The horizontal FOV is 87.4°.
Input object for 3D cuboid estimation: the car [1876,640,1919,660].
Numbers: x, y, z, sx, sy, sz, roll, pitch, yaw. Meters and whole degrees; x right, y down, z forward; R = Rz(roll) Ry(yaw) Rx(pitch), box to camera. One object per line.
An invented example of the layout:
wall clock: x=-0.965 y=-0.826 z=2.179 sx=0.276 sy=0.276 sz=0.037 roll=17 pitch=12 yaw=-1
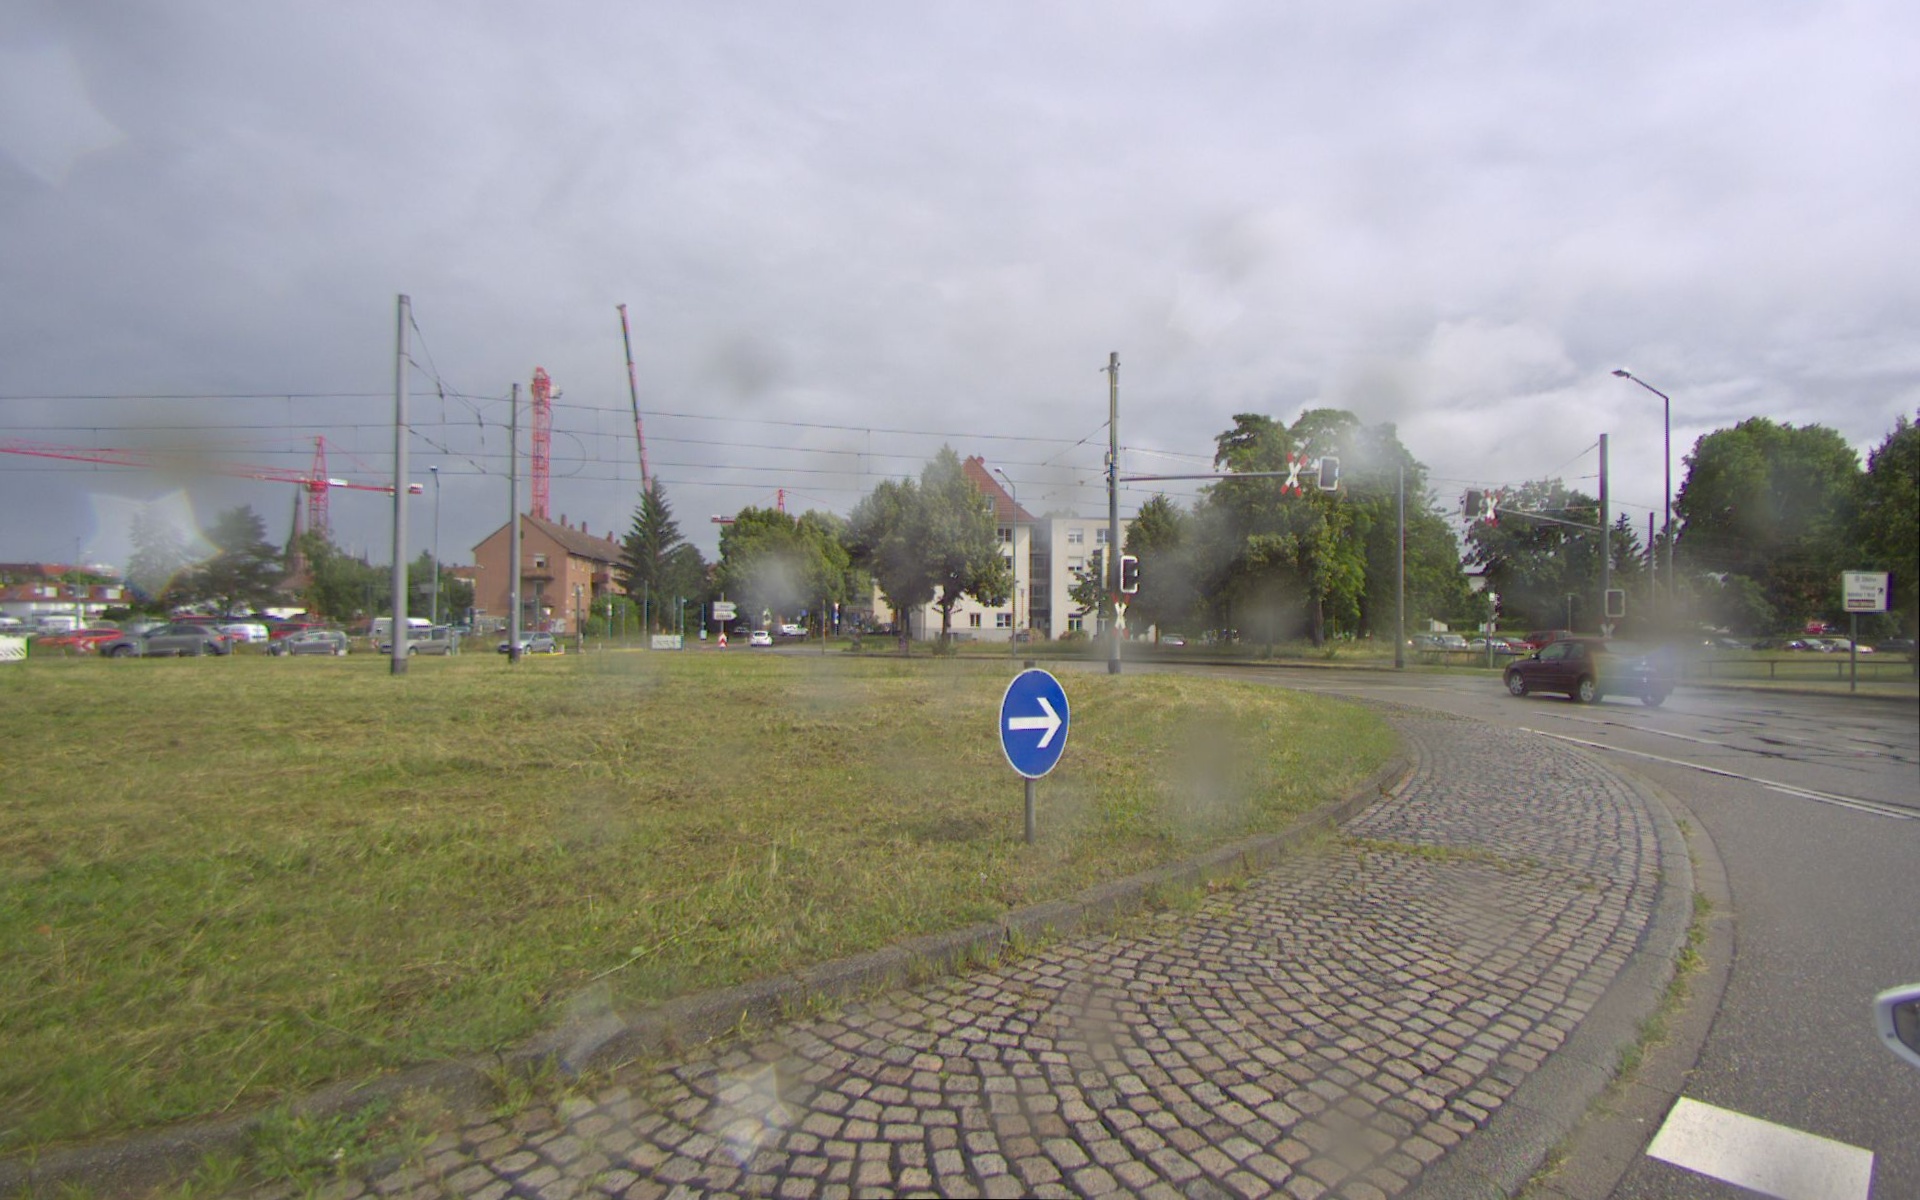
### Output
car: x=75.489 y=3.966 z=79.655 sx=1.815 sy=1.580 sz=3.977 roll=1 pitch=-2 yaw=-5

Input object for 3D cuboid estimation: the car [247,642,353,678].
car: x=-31.800 y=2.861 z=48.466 sx=1.771 sy=1.606 sz=3.980 roll=0 pitch=-1 yaw=41

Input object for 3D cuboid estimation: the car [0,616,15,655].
car: x=-39.437 y=1.366 z=39.161 sx=3.442 sy=1.530 sz=1.495 roll=1 pitch=-1 yaw=-16

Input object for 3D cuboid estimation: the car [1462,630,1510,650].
car: x=39.638 y=3.007 z=75.821 sx=1.613 sy=1.481 sz=3.610 roll=0 pitch=-2 yaw=-3

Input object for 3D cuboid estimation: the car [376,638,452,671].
car: x=-28.046 y=2.794 z=51.720 sx=1.518 sy=1.581 sz=3.503 roll=0 pitch=-1 yaw=11

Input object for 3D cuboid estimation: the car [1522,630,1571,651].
car: x=44.570 y=3.082 z=76.420 sx=1.617 sy=1.530 sz=3.651 roll=0 pitch=-2 yaw=0

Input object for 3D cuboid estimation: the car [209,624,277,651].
car: x=-52.022 y=2.703 z=72.943 sx=3.919 sy=1.722 sz=1.859 roll=2 pitch=-1 yaw=14

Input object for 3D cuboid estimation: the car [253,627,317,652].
car: x=-50.322 y=2.933 z=74.935 sx=3.921 sy=1.722 sz=1.930 roll=2 pitch=-1 yaw=19

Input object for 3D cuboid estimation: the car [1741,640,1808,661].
car: x=63.508 y=3.941 z=78.427 sx=1.815 sy=1.580 sz=3.977 roll=1 pitch=-2 yaw=-5

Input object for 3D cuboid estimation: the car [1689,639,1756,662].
car: x=59.098 y=3.881 z=77.936 sx=1.962 sy=1.737 sz=3.999 roll=0 pitch=-2 yaw=-4

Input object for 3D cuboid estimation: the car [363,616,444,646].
car: x=-44.478 y=2.491 z=80.233 sx=6.142 sy=2.112 sz=2.043 roll=2 pitch=-1 yaw=20

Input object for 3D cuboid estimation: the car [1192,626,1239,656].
car: x=18.987 y=3.042 z=74.791 sx=2.072 sy=2.085 sz=5.161 roll=0 pitch=-1 yaw=-1

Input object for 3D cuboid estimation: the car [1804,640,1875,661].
car: x=68.896 y=3.941 z=78.759 sx=1.815 sy=1.580 sz=3.977 roll=1 pitch=-2 yaw=-5

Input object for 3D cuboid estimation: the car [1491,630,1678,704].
car: x=14.161 y=1.455 z=23.064 sx=1.687 sy=1.482 sz=3.999 roll=0 pitch=-1 yaw=-2

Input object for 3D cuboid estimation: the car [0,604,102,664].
car: x=-41.370 y=1.508 z=45.097 sx=3.947 sy=2.601 sz=1.786 roll=1 pitch=-1 yaw=-26

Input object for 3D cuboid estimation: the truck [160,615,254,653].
truck: x=-50.933 y=2.270 z=67.942 sx=5.984 sy=2.241 sz=2.397 roll=2 pitch=-1 yaw=23

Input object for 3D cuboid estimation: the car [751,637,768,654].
car: x=-18.651 y=4.181 z=93.538 sx=1.523 sy=1.473 sz=3.492 roll=0 pitch=-1 yaw=-12

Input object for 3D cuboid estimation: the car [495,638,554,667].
car: x=-26.491 y=3.171 z=61.222 sx=1.567 sy=1.581 sz=3.552 roll=0 pitch=-1 yaw=9

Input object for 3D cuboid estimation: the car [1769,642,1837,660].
car: x=66.152 y=3.987 z=78.894 sx=1.815 sy=1.325 sz=3.977 roll=1 pitch=-2 yaw=-5

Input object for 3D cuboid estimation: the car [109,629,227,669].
car: x=-33.087 y=2.006 z=42.075 sx=3.634 sy=1.581 sz=1.561 roll=1 pitch=-1 yaw=-30

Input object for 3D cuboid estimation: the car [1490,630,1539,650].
car: x=42.090 y=3.009 z=76.309 sx=1.613 sy=1.481 sz=3.610 roll=0 pitch=-2 yaw=-3

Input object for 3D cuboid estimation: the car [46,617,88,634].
car: x=-92.351 y=2.619 z=103.893 sx=3.527 sy=1.745 sz=1.501 roll=0 pitch=-1 yaw=13
